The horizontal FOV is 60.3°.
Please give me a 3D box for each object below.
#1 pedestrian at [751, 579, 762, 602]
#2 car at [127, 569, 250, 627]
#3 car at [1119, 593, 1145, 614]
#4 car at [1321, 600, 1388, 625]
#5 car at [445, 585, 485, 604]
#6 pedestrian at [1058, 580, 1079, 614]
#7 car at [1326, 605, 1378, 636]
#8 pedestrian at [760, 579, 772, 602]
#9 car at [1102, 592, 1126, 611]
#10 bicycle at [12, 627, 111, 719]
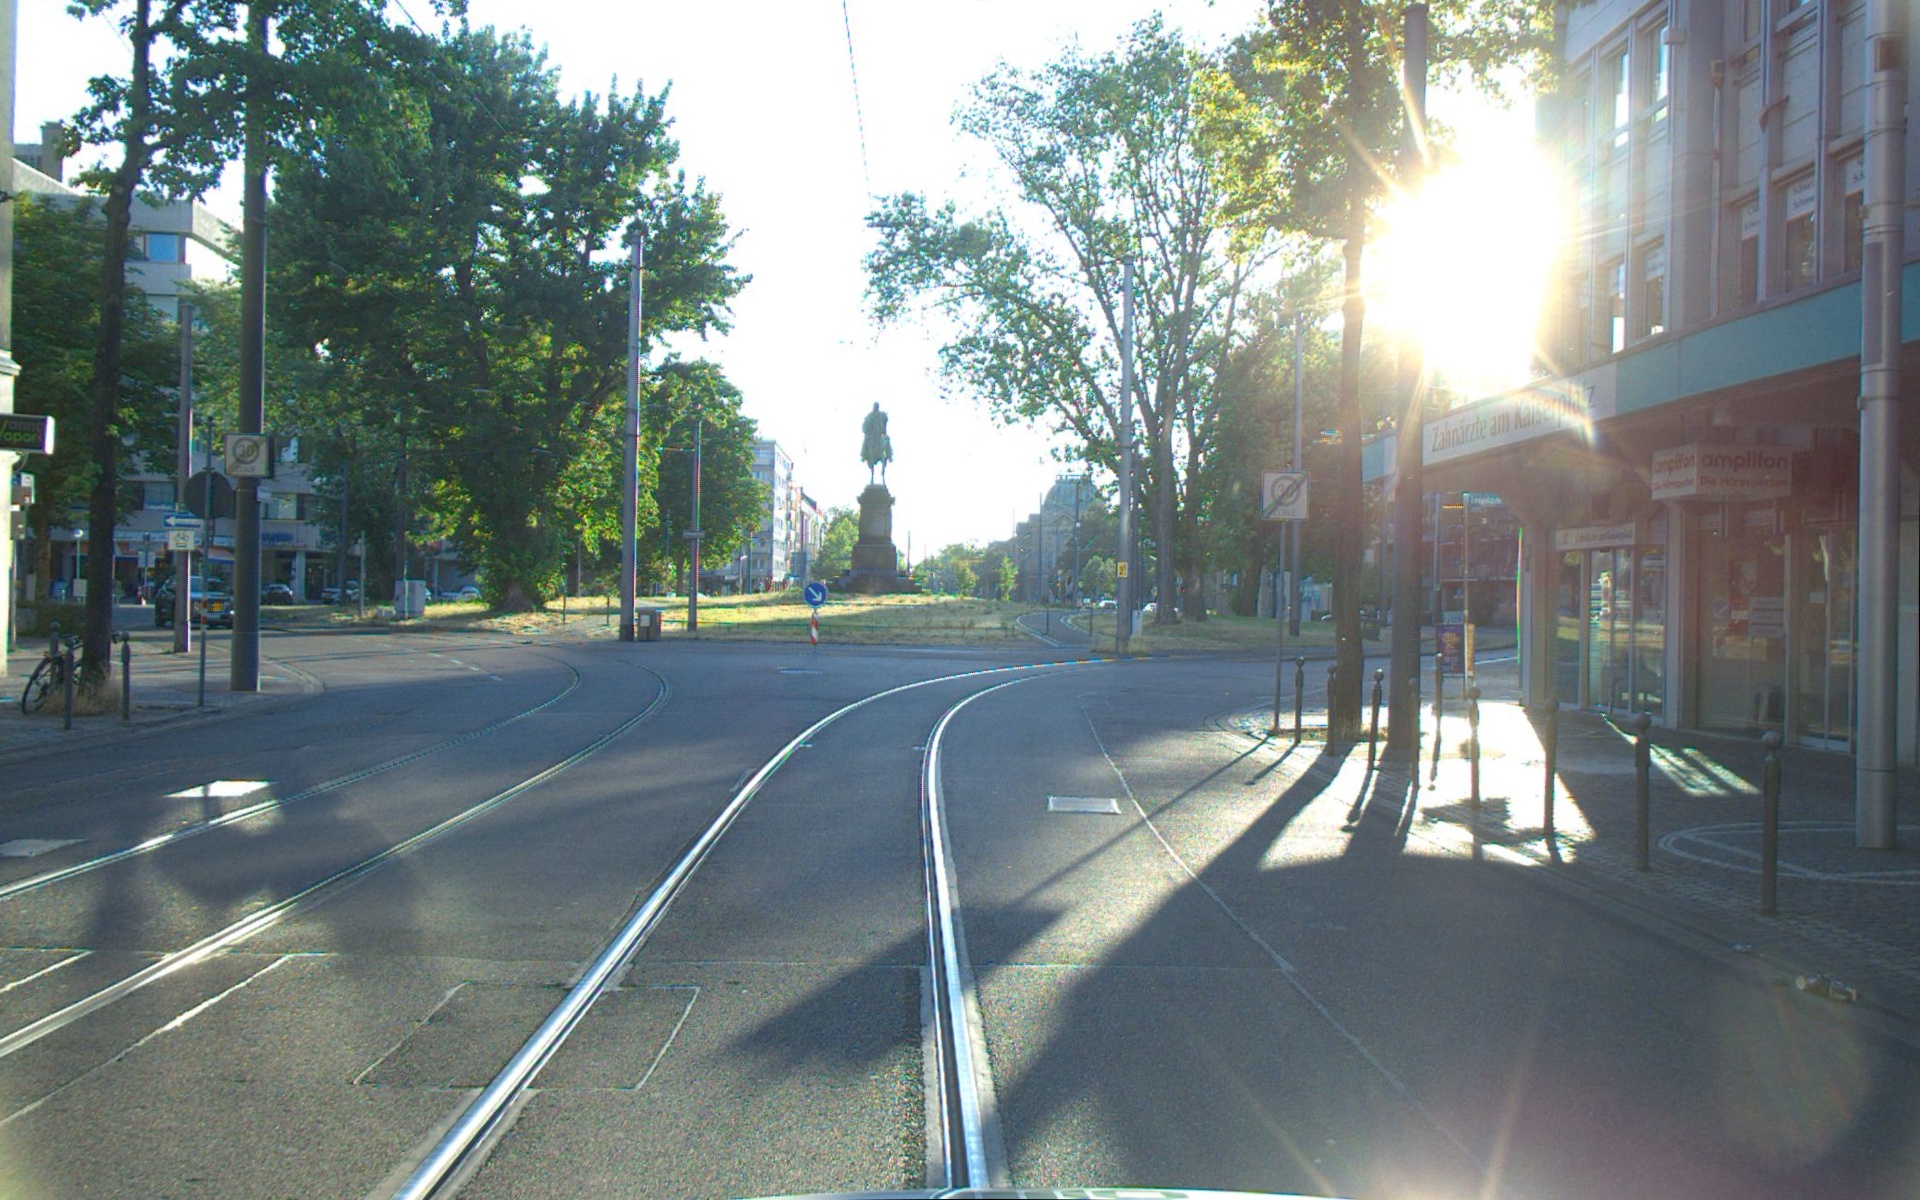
[{"bbox_3d":[-14.580,-0.677,118.292,0.755,1.634,0.637,1,0,-9],"label":"pedestrian"},{"bbox_3d":[-24.438,-0.068,52.335,4.281,1.706,1.958,2,0,42],"label":"car"},{"bbox_3d":[17.860,0.331,171.675,2.095,2.049,3.999,1,0,-2],"label":"car"},{"bbox_3d":[26.536,0.836,111.388,3.911,1.612,2.013,1,0,-7],"label":"car"},{"bbox_3d":[-38.014,-0.421,127.148,1.838,1.445,3.925,1,0,0],"label":"car"},{"bbox_3d":[5.177,-0.141,78.944,0.766,1.634,0.628,0,0,-45],"label":"pedestrian"},{"bbox_3d":[26.662,1.404,112.626,1.958,2.004,3.988,1,1,-12],"label":"car"},{"bbox_3d":[-13.816,-0.664,117.808,0.755,1.634,0.637,1,0,-9],"label":"pedestrian"},{"bbox_3d":[16.903,0.172,182.038,2.095,2.049,3.999,1,0,-2],"label":"car"},{"bbox_3d":[-10.266,0.815,18.947,0.329,0.962,1.509,1,0,-1],"label":"bicycle"}]
